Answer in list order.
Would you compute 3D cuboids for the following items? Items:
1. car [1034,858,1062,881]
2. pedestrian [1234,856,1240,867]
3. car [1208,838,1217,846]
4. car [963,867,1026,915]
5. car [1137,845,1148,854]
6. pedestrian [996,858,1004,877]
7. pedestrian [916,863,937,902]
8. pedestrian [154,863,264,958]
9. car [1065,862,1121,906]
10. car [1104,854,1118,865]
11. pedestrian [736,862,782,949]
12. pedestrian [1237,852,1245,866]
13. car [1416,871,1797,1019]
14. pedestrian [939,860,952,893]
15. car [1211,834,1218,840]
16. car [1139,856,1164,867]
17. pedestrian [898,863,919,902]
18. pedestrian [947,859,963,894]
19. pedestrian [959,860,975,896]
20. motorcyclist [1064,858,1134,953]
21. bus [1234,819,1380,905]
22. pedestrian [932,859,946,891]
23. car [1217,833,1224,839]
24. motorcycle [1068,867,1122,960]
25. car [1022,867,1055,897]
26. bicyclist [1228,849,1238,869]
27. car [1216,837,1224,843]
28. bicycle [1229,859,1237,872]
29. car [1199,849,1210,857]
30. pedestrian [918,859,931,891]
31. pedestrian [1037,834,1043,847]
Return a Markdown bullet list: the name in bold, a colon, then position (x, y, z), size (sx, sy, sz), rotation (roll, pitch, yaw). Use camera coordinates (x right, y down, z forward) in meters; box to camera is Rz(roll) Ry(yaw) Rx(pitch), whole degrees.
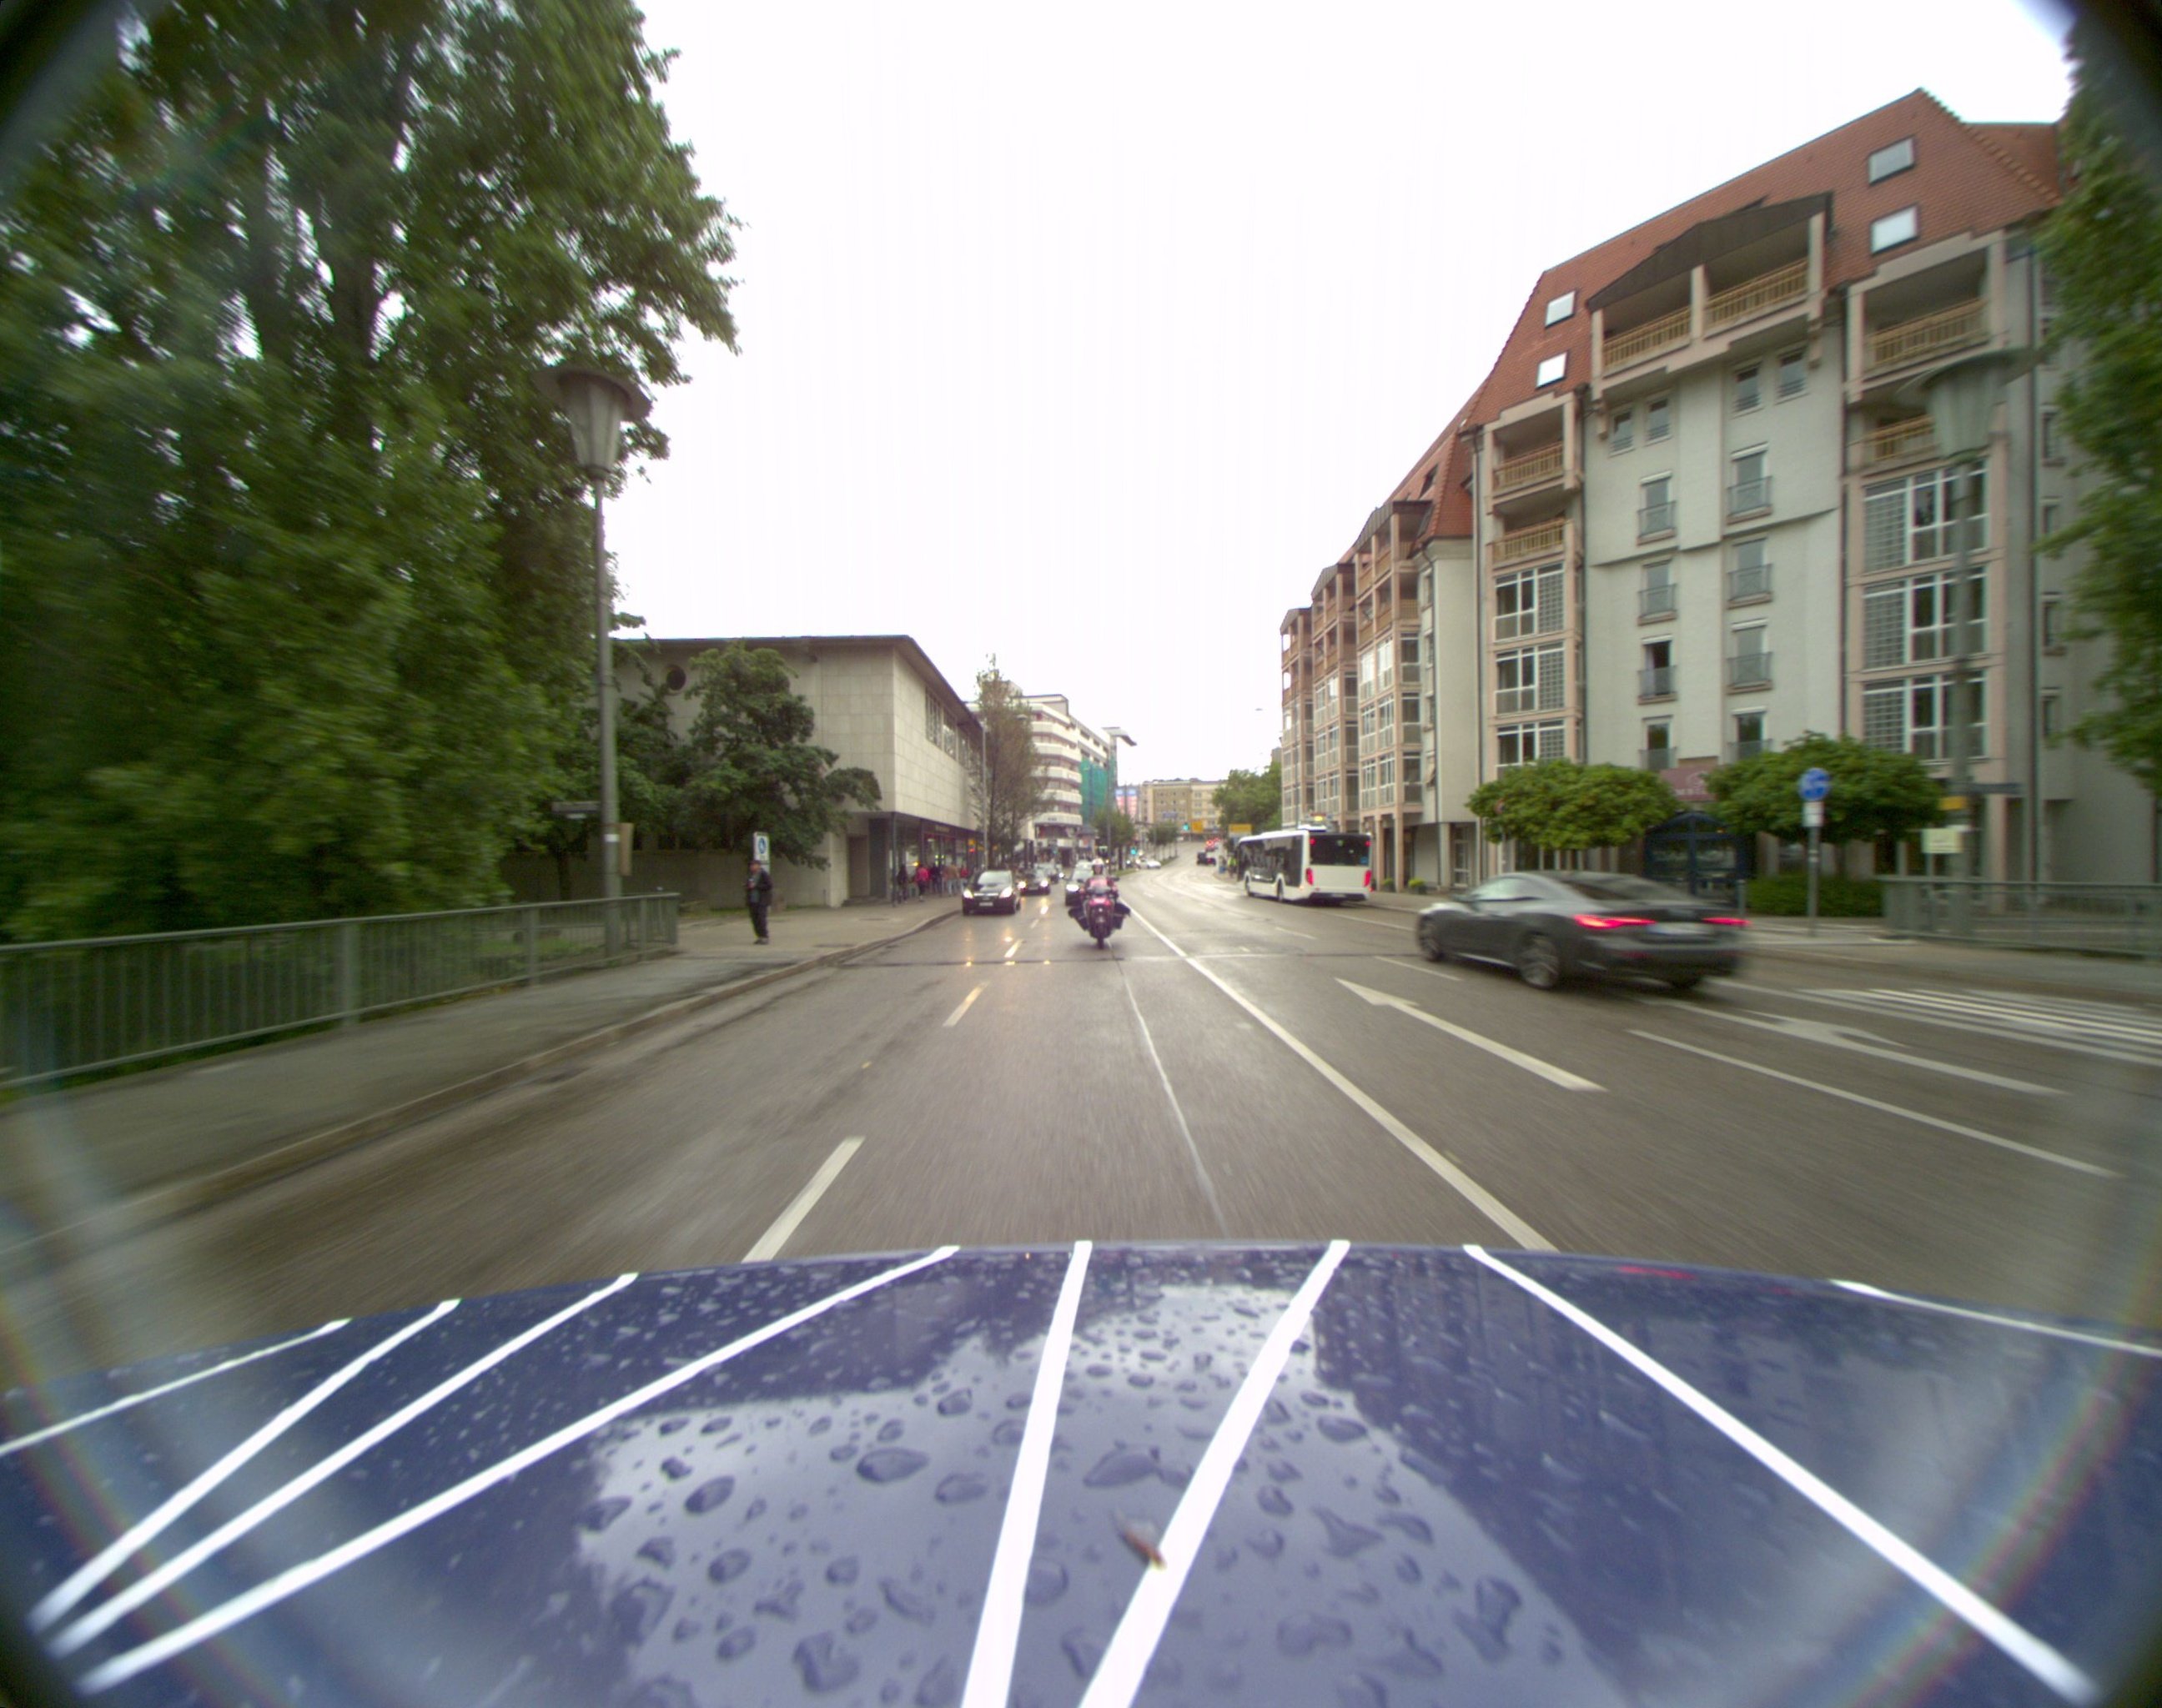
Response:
- **car**: position (-2.648, 1.222, 61.553), size (1.735, 1.669, 4.249), rotation (-2, 0, 4)
- **pedestrian**: position (16.613, 0.778, 80.922), size (0.469, 1.144, 0.502), rotation (-1, 0, 4)
- **car**: position (29.811, -2.811, 172.589), size (1.830, 1.726, 4.313), rotation (0, 1, 12)
- **car**: position (-2.858, 1.201, 25.727), size (1.712, 1.448, 3.742), rotation (-2, -1, -1)
- **car**: position (12.871, -0.950, 158.966), size (1.830, 1.727, 4.002), rotation (0, 4, 14)
- **pedestrian**: position (-6.679, 1.080, 62.511), size (0.429, 1.557, 0.510), rotation (0, 0, 27)
- **pedestrian**: position (-6.433, 1.187, 31.670), size (0.719, 1.610, 0.769), rotation (1, 0, 0)
- **pedestrian**: position (-20.063, 1.280, 17.523), size (1.116, 2.003, 1.021), rotation (-4, 3, 0)
- **car**: position (0.495, 1.093, 29.199), size (1.937, 1.511, 4.469), rotation (-1, 0, 2)
- **car**: position (5.406, 0.997, 136.572), size (1.830, 1.727, 4.002), rotation (0, 4, 14)
- **pedestrian**: position (-6.247, 0.996, 14.764), size (0.641, 1.654, 0.563), rotation (0, -1, -1)
- **pedestrian**: position (16.970, 0.529, 80.538), size (0.716, 1.550, 0.565), rotation (-1, 0, 4)
- **car**: position (6.139, 0.945, 9.675), size (1.796, 1.317, 4.406), rotation (-1, 0, 0)
- **pedestrian**: position (-7.573, 1.263, 42.535), size (0.537, 1.809, 0.535), rotation (0, 0, 10)
- **car**: position (34.802, -4.432, 197.556), size (1.625, 1.546, 3.662), rotation (-1, 0, 11)
- **car**: position (9.930, 1.021, 107.002), size (1.773, 1.401, 3.992), rotation (-3, 2, -24)
- **pedestrian**: position (-7.190, 1.187, 31.676), size (0.727, 1.580, 0.606), rotation (0, 0, 0)
- **pedestrian**: position (-6.388, 1.129, 38.530), size (0.700, 1.791, 0.606), rotation (0, 0, 0)
- **pedestrian**: position (-5.744, 1.201, 38.462), size (0.655, 1.757, 0.923), rotation (1, 0, 0)
- **motorcyclist**: position (0.355, 0.964, 14.666), size (1.296, 1.757, 0.846), rotation (-1, 1, 3)
- **bus**: position (9.447, 0.430, 33.706), size (2.751, 3.057, 12.238), rotation (2, -1, 0)
- **pedestrian**: position (-7.758, 1.158, 41.535), size (0.537, 1.709, 0.535), rotation (-1, 0, 9)
- **car**: position (38.604, -5.011, 210.356), size (1.716, 1.470, 3.960), rotation (1, 2, 12)
- **motorcycle**: position (0.308, 1.028, 14.224), size (0.831, 1.479, 2.866), rotation (-2, 1, 4)
- **car**: position (-2.296, 1.507, 41.814), size (1.596, 1.432, 3.627), rotation (-1, 0, 0)
- **bicyclist**: position (13.980, 0.464, 69.860), size (0.793, 1.879, 0.954), rotation (-1, 1, 10)
- **car**: position (33.669, -3.470, 184.276), size (1.674, 1.507, 3.646), rotation (1, 1, 13)
- **bicycle**: position (14.027, 1.040, 70.137), size (0.651, 1.104, 2.059), rotation (-1, 0, 10)
- **car**: position (23.914, -0.200, 147.650), size (1.761, 1.412, 4.097), rotation (1, 2, 5)
- **pedestrian**: position (-8.607, 1.142, 41.754), size (0.537, 1.709, 0.535), rotation (-1, 0, 10)
- **pedestrian**: position (-6.167, -2.016, 114.133), size (0.623, 1.837, 0.848), rotation (-1, 3, 19)
